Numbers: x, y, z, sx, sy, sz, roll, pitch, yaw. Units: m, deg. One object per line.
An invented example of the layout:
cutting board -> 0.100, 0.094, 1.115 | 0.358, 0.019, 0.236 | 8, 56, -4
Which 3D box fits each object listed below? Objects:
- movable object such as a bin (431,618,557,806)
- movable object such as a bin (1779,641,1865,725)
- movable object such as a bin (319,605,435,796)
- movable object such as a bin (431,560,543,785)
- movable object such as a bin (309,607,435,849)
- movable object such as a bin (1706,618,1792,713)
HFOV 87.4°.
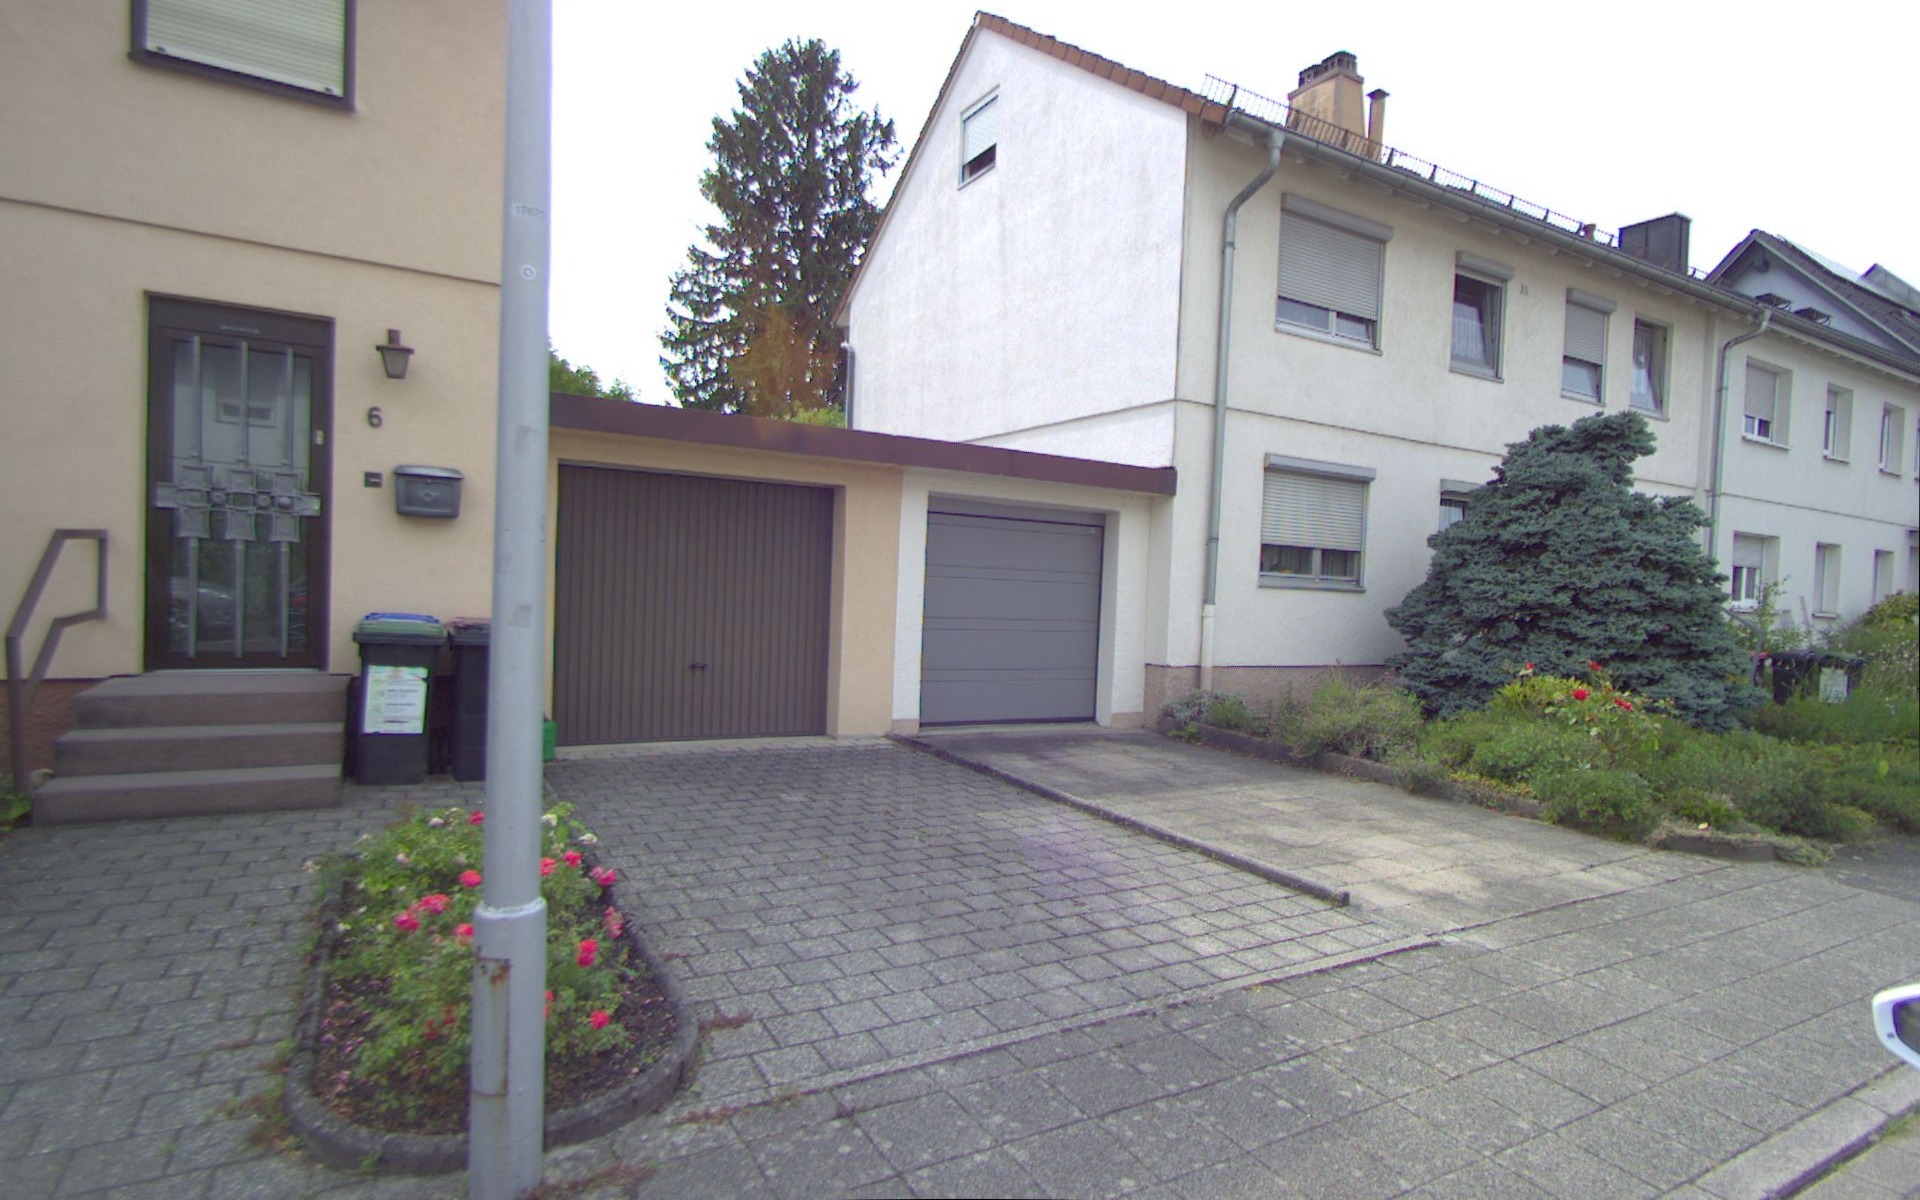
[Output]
movable object such as a bin -> -2.833, 0.644, 6.087 | 0.625, 1.035, 0.649 | 1, 0, -30
movable object such as a bin -> 11.231, 1.064, 13.090 | 0.591, 1.021, 0.672 | 1, 1, -30
movable object such as a bin -> -3.358, 0.547, 5.808 | 0.535, 1.016, 0.649 | 1, 0, -30
movable object such as a bin -> -3.094, 0.454, 6.572 | 0.603, 1.403, 0.408 | 1, 2, -30
movable object such as a bin -> -3.680, 0.757, 6.312 | 0.625, 1.403, 0.649 | 1, 0, -30
movable object such as a bin -> 10.949, 0.891, 13.946 | 0.726, 1.256, 0.693 | 1, 1, -30
